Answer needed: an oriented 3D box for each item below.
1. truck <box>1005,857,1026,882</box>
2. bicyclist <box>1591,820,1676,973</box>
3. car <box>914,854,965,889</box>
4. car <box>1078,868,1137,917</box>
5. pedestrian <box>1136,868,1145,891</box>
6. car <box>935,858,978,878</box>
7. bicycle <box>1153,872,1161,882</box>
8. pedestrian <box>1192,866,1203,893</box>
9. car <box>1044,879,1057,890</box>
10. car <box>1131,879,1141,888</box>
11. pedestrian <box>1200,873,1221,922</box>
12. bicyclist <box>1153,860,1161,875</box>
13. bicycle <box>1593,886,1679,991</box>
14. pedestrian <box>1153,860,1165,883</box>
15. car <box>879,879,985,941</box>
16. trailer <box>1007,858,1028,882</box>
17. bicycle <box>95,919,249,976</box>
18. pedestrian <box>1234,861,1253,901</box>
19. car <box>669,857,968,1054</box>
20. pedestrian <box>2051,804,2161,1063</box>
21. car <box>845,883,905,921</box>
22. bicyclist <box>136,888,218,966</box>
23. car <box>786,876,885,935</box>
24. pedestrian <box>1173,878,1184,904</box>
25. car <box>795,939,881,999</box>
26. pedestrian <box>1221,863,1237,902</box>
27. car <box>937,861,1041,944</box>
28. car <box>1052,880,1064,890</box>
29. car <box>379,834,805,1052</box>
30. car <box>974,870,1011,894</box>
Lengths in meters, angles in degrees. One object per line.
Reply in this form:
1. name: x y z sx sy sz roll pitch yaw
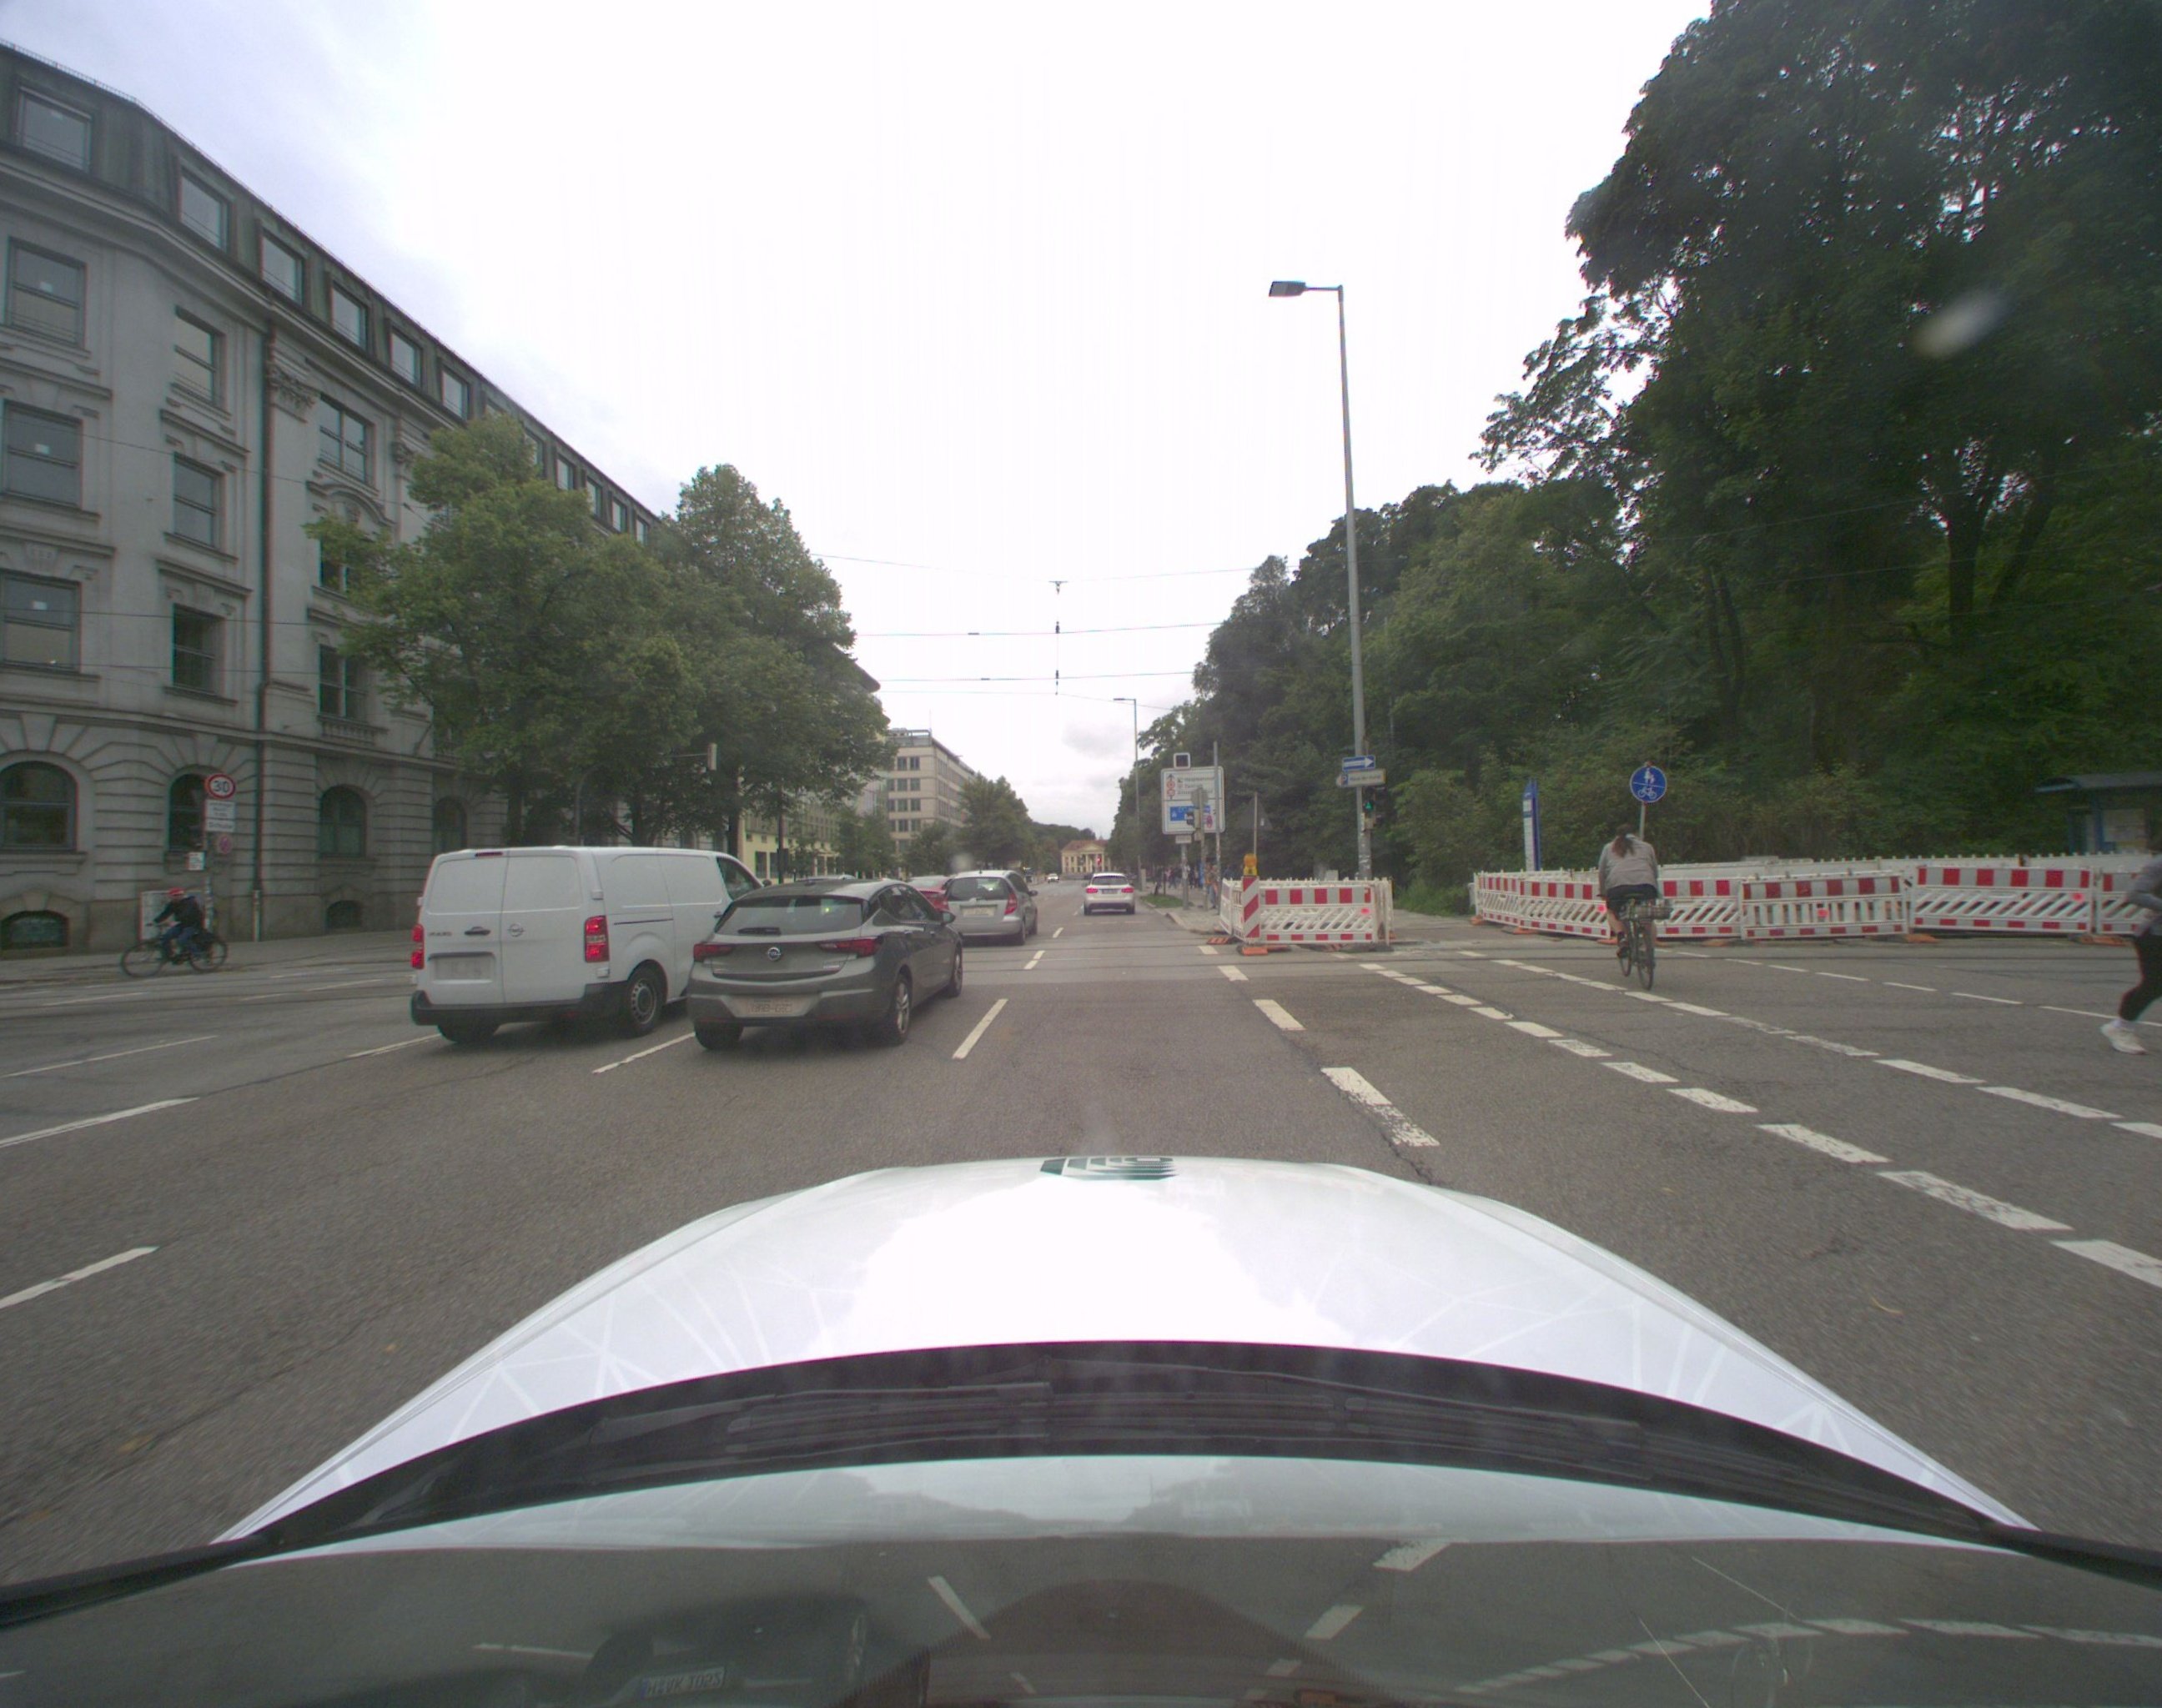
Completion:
1. truck: -10.180 2.478 127.692 2.909 3.775 7.658 0 -2 -2
2. bicyclist: 6.398 0.479 9.478 0.749 1.667 0.905 -1 -2 32
3. car: -6.882 0.875 39.944 1.628 1.572 3.947 -2 -2 2
4. car: 0.887 1.343 29.352 1.775 1.645 3.995 0 -2 -3
5. pedestrian: 4.595 1.971 63.176 0.705 1.809 0.639 0 -2 1
6. car: -17.076 1.957 111.883 5.666 2.537 2.154 -1 -2 -3
7. bicycle: 7.774 2.377 83.533 0.672 1.031 2.013 0 -2 2
8. pedestrian: 8.496 1.863 59.525 0.705 1.915 0.956 0 -2 2
9. car: -5.231 5.275 139.267 1.850 1.749 4.631 -3 -2 2
10. car: 10.859 5.809 160.659 1.820 1.550 4.754 -2 -2 3
11. pedestrian: 4.775 1.599 30.135 0.607 1.761 0.635 -1 -2 -4
12. bicyclist: 7.808 1.411 83.530 0.705 1.562 0.639 0 -1 1
13. bicycle: 6.448 0.918 9.528 0.731 1.058 2.176 -1 -2 33
14. pedestrian: 6.249 1.401 65.326 0.795 1.881 0.547 -2 -3 38
15. car: -4.293 1.580 24.139 1.768 1.654 4.011 0 -2 10
16. trailer: -10.482 2.699 135.346 2.942 3.741 11.757 0 -2 -3
17. bicycle: -18.855 1.911 16.986 0.659 0.988 2.182 0 -2 2
18. pedestrian: 7.585 1.277 38.037 0.748 1.839 0.757 0 -2 3
19. car: -2.353 0.861 8.456 1.704 1.552 4.000 0 -2 1
20. pedestrian: 7.775 0.552 5.924 0.764 1.765 1.074 -2 -3 44
21. car: -9.773 2.248 38.918 1.738 1.596 3.999 -3 -1 0
22. bicyclist: -18.866 1.506 17.015 0.657 1.579 0.892 0 -2 2
23. car: -7.276 1.487 24.493 1.628 1.572 3.947 -2 -2 2
24. pedestrian: 7.152 2.720 59.678 0.705 1.915 0.956 0 -2 2
25. car: -8.293 3.892 28.117 1.628 1.572 3.947 -2 -2 2
26. pedestrian: 6.956 1.336 38.266 0.668 1.839 0.641 0 -2 3
27. car: -1.935 1.027 18.218 1.773 1.654 4.000 0 -2 1
28. car: -4.026 5.403 143.069 1.813 1.728 3.883 0 -2 2
29. car: -5.105 0.860 9.574 1.891 1.848 4.956 -1 -2 1
30. car: -5.929 1.885 55.220 1.760 1.423 4.749 -3 -2 2
